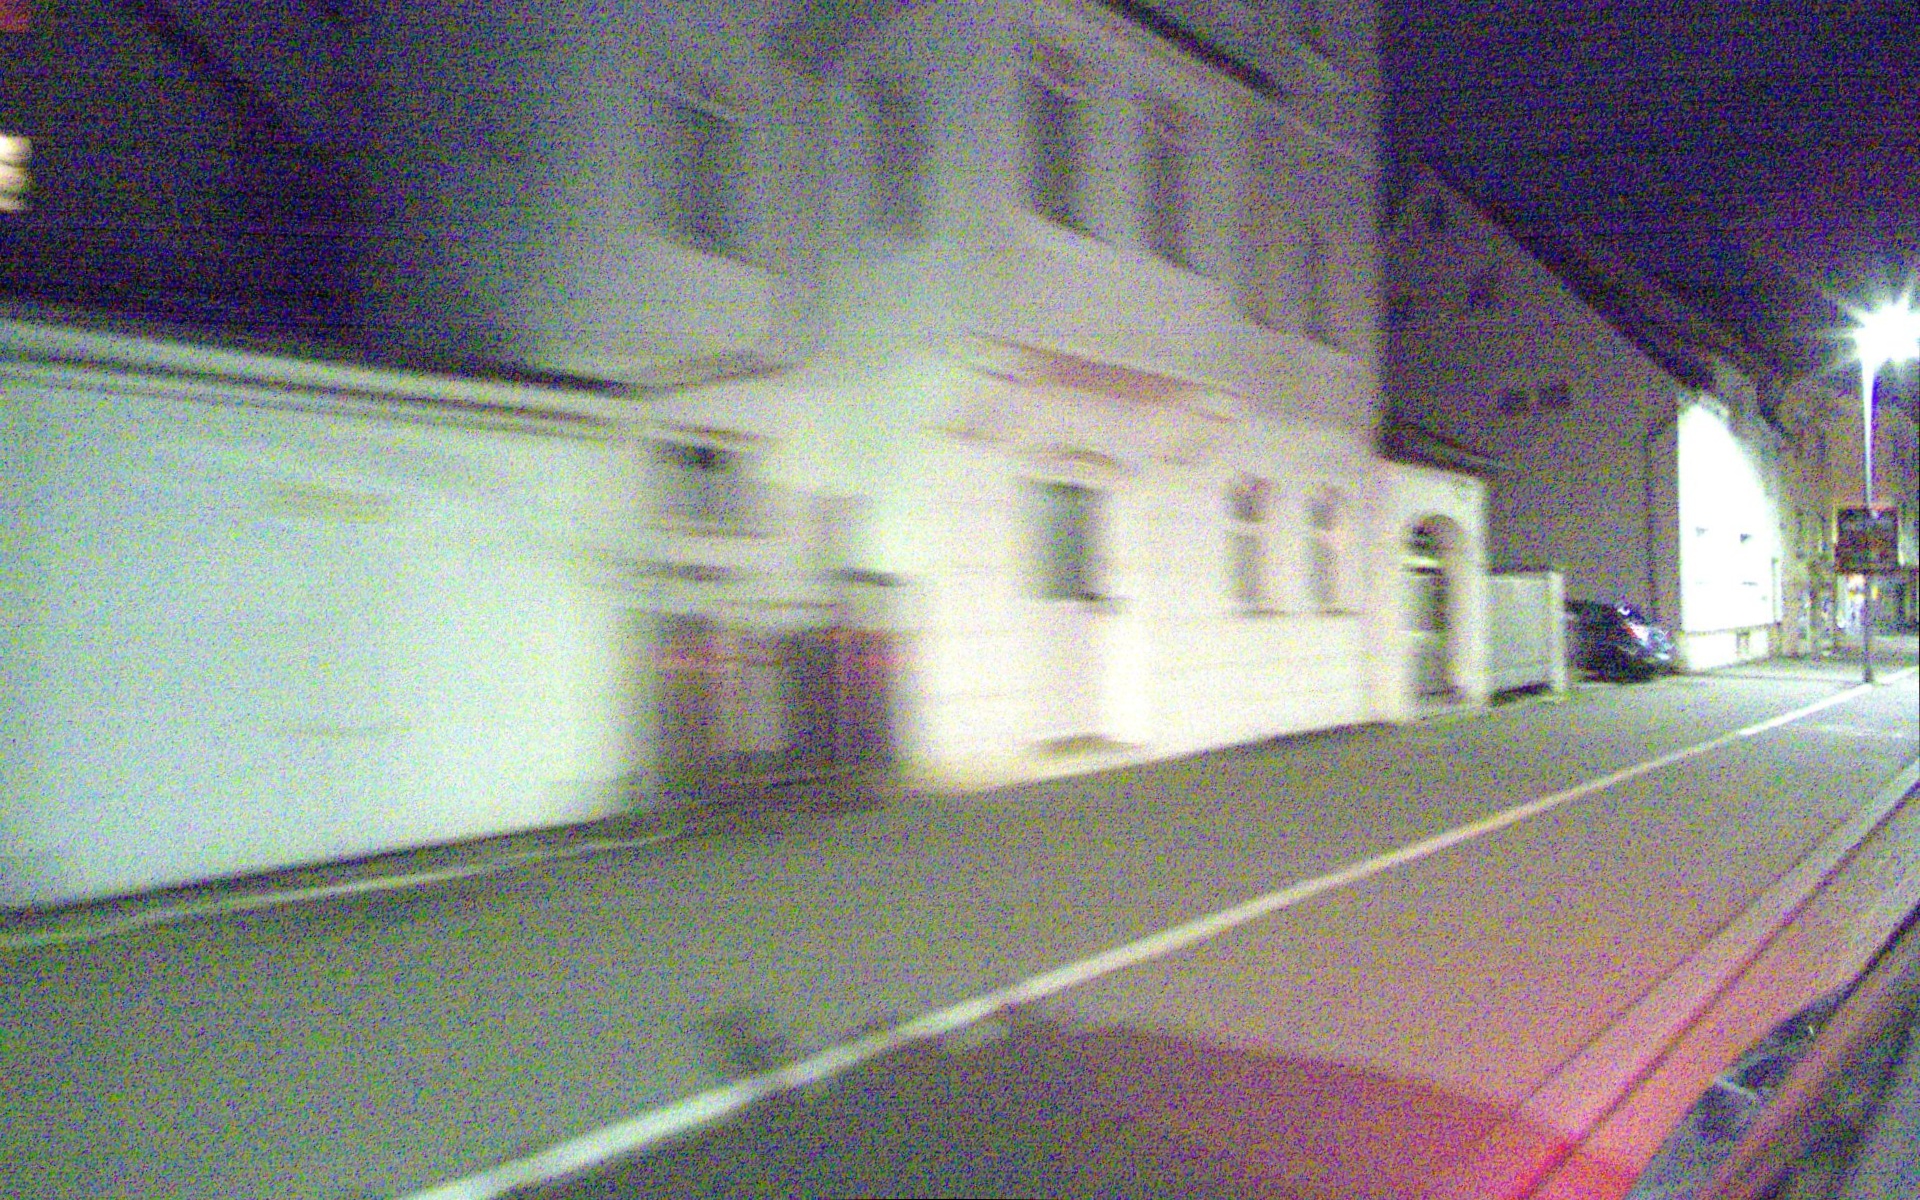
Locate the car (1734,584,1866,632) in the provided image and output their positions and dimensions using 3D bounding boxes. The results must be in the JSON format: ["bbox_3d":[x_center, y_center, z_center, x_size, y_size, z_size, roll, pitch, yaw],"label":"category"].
[{"bbox_3d":[31.475,0.266,37.988,1.789,1.543,3.513,0,4,-41],"label":"car"}]

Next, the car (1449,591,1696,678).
[{"bbox_3d":[11.700,0.595,19.516,1.699,1.492,3.721,0,0,-38],"label":"car"}]
